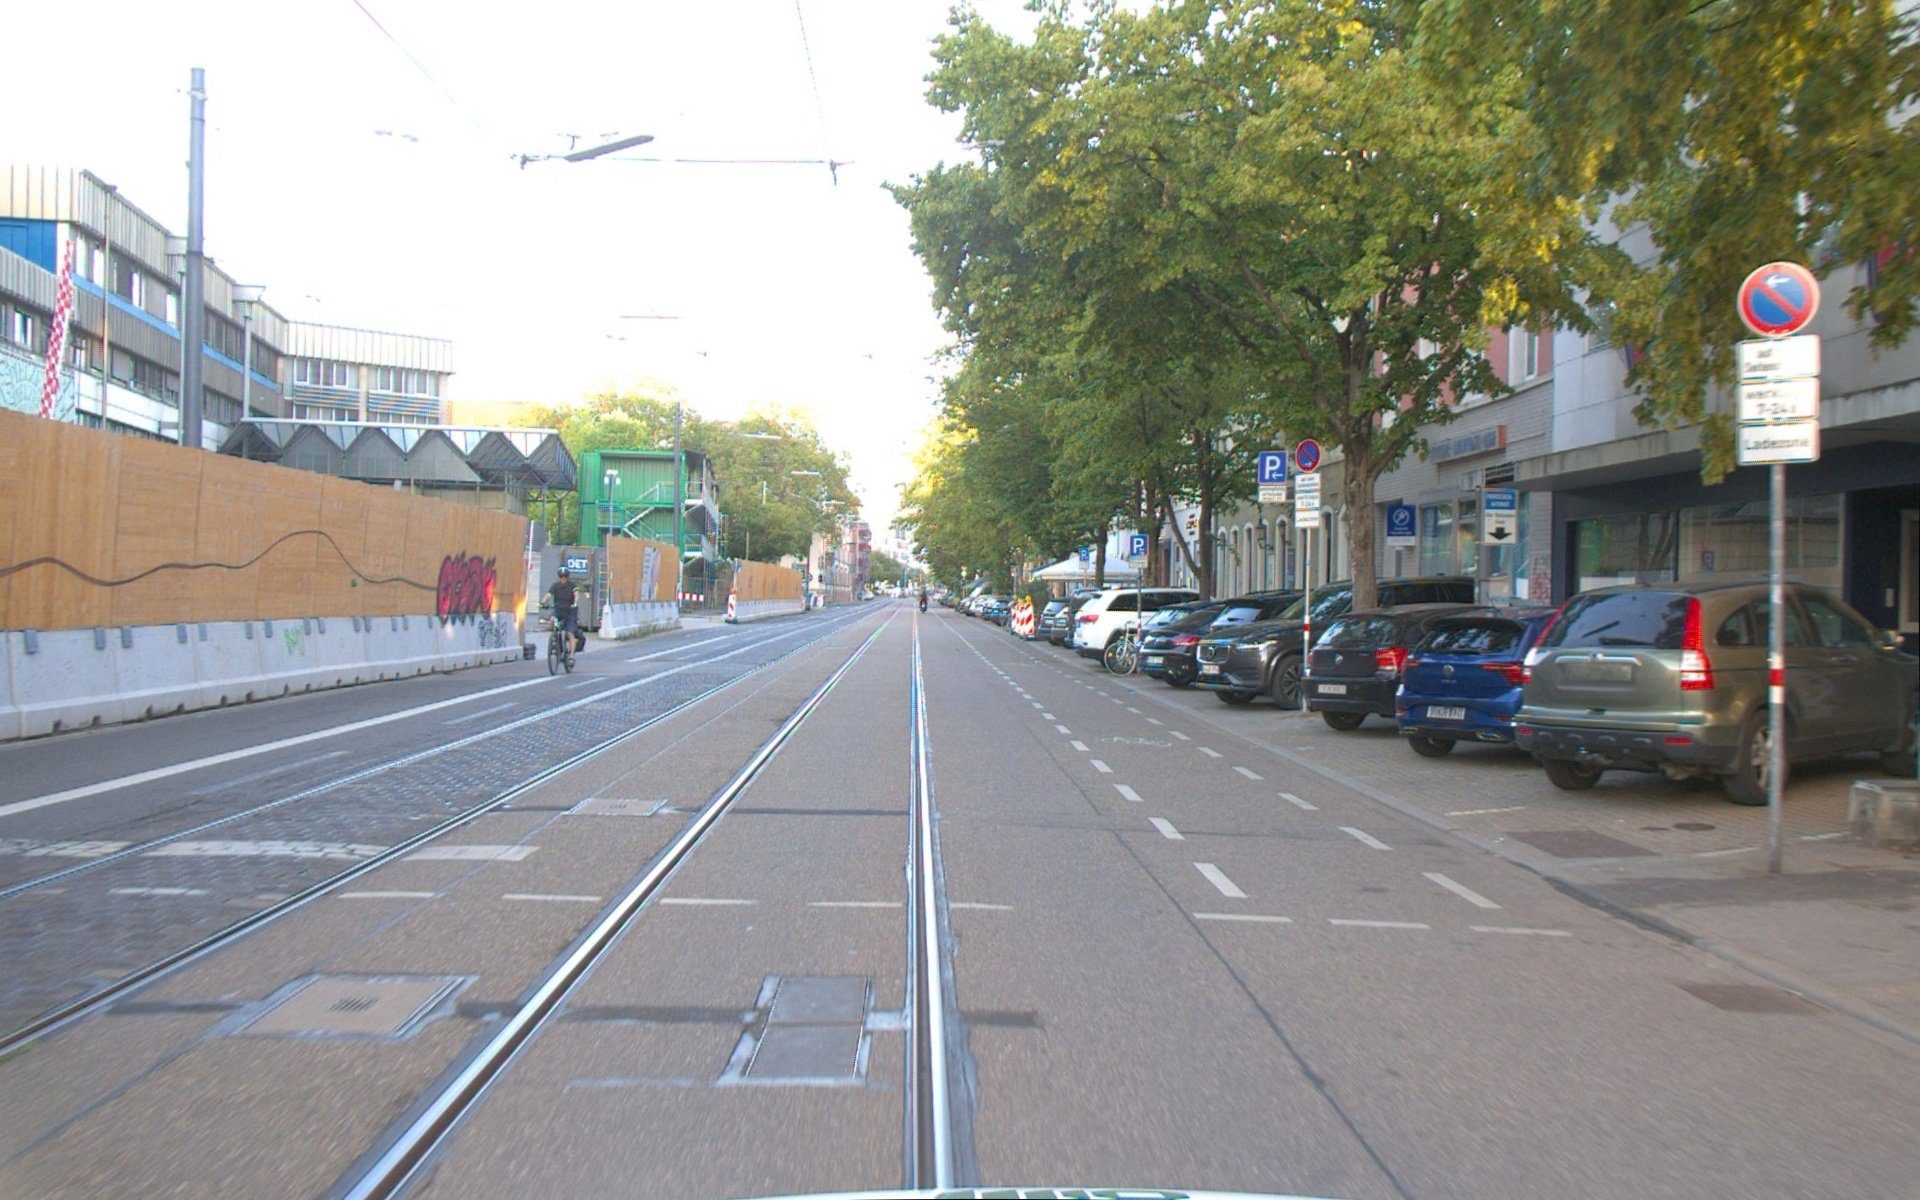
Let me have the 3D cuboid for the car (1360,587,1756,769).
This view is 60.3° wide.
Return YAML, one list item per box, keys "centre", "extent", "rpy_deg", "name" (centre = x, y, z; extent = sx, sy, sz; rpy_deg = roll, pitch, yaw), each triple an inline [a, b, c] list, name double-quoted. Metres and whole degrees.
- centre: [6.062, 0.698, 16.671]
  extent: [3.845, 1.528, 1.793]
  rpy_deg: [-2, 1, -33]
  name: "car"

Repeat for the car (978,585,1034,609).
- centre: [3.195, -0.197, 116.113]
  extent: [3.870, 1.648, 1.920]
  rpy_deg: [-1, -1, -1]
  name: "car"

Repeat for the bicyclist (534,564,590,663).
- centre: [-6.976, 0.237, 29.032]
  extent: [0.752, 1.694, 1.018]
  rpy_deg: [1, 0, -2]
  name: "bicyclist"

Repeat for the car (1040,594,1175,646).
- centre: [4.410, 0.579, 49.463]
  extent: [3.728, 1.432, 1.691]
  rpy_deg: [-1, 0, -27]
  name: "car"

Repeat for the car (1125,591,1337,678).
- centre: [5.171, 0.625, 31.548]
  extent: [3.702, 1.451, 1.713]
  rpy_deg: [-2, 1, -27]
  name: "car"

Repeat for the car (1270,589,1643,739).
- centre: [5.901, 0.683, 19.589]
  extent: [4.110, 1.490, 1.952]
  rpy_deg: [-2, 1, -30]
  name: "car"

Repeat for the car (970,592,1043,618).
- centre: [2.883, 0.329, 102.669]
  extent: [4.176, 1.576, 2.013]
  rpy_deg: [0, 0, -13]
  name: "car"

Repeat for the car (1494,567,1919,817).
- centre: [6.460, 0.632, 13.695]
  extent: [4.123, 1.693, 1.818]
  rpy_deg: [-2, 1, -37]
  name: "car"

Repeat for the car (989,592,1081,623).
- centre: [3.631, 0.361, 80.399]
  extent: [4.101, 1.451, 1.812]
  rpy_deg: [1, 0, -21]
  name: "car"

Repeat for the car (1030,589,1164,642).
- centre: [4.320, 0.460, 52.038]
  extent: [3.915, 1.580, 1.691]
  rpy_deg: [-1, 0, -27]
  name: "car"

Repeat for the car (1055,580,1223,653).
- centre: [4.782, 0.414, 44.032]
  extent: [4.104, 1.838, 1.987]
  rpy_deg: [-1, 0, -30]
  name: "car"

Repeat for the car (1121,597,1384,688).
- centre: [5.076, 0.686, 28.756]
  extent: [4.156, 1.451, 1.961]
  rpy_deg: [0, 0, -24]
  name: "car"

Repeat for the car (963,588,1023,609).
- centre: [2.394, -0.097, 119.888]
  extent: [3.901, 1.512, 1.905]
  rpy_deg: [0, -1, -26]
  name: "car"

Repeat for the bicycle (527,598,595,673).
- centre: [-6.991, 0.605, 29.051]
  extent: [0.752, 1.249, 1.935]
  rpy_deg: [1, 0, -2]
  name: "bicycle"

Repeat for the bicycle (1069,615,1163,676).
- centre: [3.135, 0.909, 33.176]
  extent: [1.805, 1.122, 0.496]
  rpy_deg: [-2, 1, -16]
  name: "bicycle"

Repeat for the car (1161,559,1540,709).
- centre: [5.586, 0.430, 23.735]
  extent: [4.891, 1.858, 2.195]
  rpy_deg: [-2, 1, -20]
  name: "car"

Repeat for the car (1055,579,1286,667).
- centre: [4.445, 0.462, 35.348]
  extent: [4.558, 1.717, 2.006]
  rpy_deg: [-1, 0, -5]
  name: "car"

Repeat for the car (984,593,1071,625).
- centre: [3.477, 0.454, 85.272]
  extent: [4.055, 1.496, 1.813]
  rpy_deg: [-2, 1, -20]
  name: "car"

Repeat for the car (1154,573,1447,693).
- centre: [5.407, 0.481, 26.313]
  extent: [4.150, 1.677, 1.964]
  rpy_deg: [-2, 1, -20]
  name: "car"

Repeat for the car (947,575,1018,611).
- centre: [1.678, -0.528, 124.691]
  extent: [5.017, 2.689, 2.011]
  rpy_deg: [-1, 0, -19]
  name: "car"
